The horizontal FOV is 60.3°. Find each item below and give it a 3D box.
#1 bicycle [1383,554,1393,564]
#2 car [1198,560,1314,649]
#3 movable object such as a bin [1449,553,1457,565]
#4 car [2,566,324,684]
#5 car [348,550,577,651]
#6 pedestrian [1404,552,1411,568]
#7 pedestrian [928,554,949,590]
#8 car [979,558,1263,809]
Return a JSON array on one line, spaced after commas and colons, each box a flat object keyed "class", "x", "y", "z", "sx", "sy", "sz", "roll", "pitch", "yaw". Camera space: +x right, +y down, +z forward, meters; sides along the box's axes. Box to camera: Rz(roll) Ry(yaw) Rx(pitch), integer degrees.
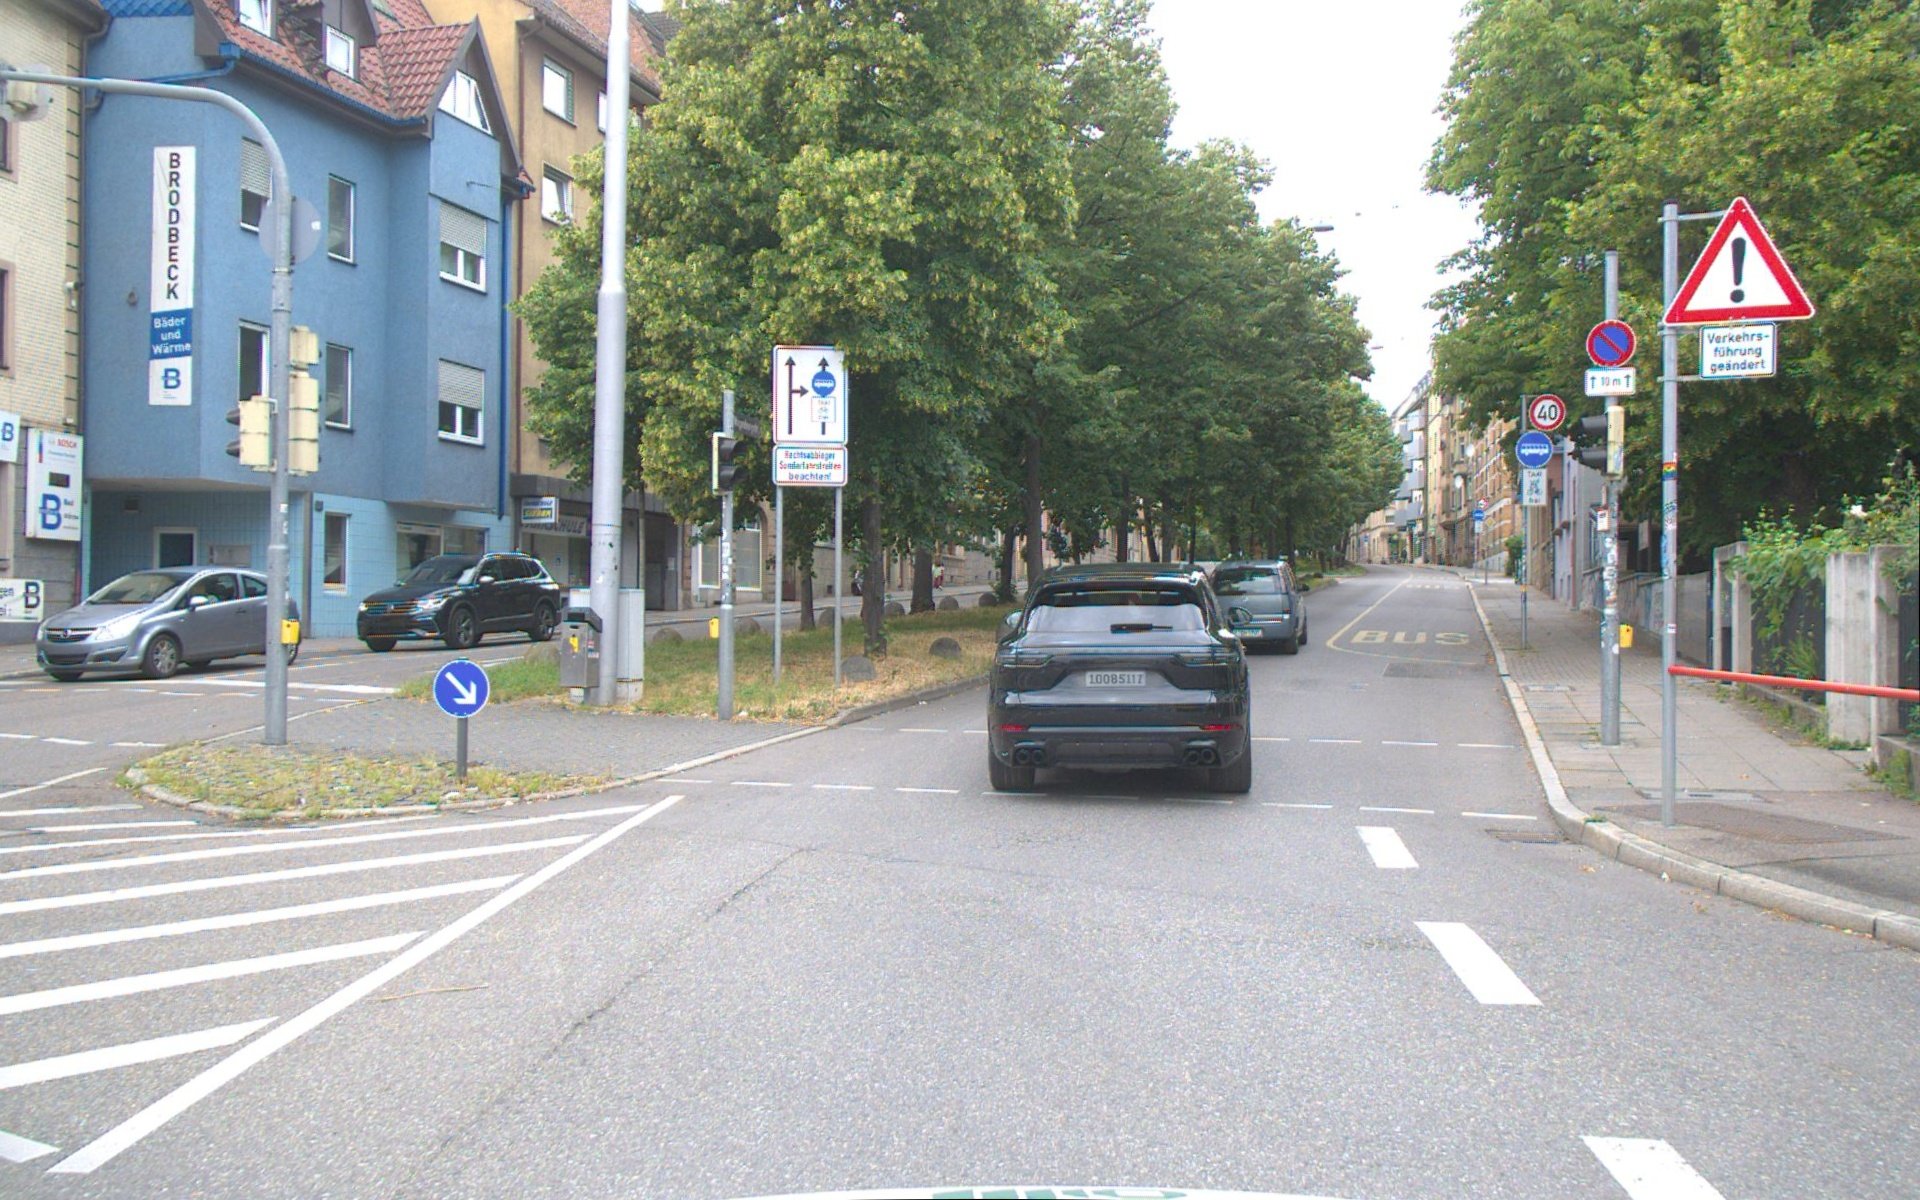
[{"class": "bicycle", "x": 50.832, "y": -4.889, "z": 196.495, "sx": 0.860, "sy": 1.149, "sz": 2.982, "roll": 1, "pitch": 0, "yaw": 9}, {"class": "car", "x": 5.385, "y": 0.056, "z": 29.819, "sx": 1.726, "sy": 1.491, "sz": 3.594, "roll": 1, "pitch": 1, "yaw": 15}, {"class": "movable object such as a bin", "x": 40.854, "y": -3.397, "z": 137.034, "sx": 0.581, "sy": 0.919, "sz": 0.563, "roll": 1, "pitch": 1, "yaw": 12}, {"class": "car", "x": -10.891, "y": 0.285, "z": 22.982, "sx": 1.633, "sy": 1.431, "sz": 4.299, "roll": -1, "pitch": 2, "yaw": 14}, {"class": "car", "x": -8.961, "y": -0.003, "z": 30.257, "sx": 1.777, "sy": 1.665, "sz": 4.683, "roll": -2, "pitch": 0, "yaw": 15}, {"class": "pedestrian", "x": 48.243, "y": -4.346, "z": 178.265, "sx": 0.735, "sy": 1.722, "sz": 0.859, "roll": 0, "pitch": -1, "yaw": 11}, {"class": "pedestrian", "x": -0.879, "y": -1.170, "z": 68.363, "sx": 0.684, "sy": 1.485, "sz": 0.704, "roll": 1, "pitch": 2, "yaw": 17}, {"class": "car", "x": 1.427, "y": 0.517, "z": 13.375, "sx": 1.951, "sy": 1.694, "sz": 4.004, "roll": 0, "pitch": 2, "yaw": 10}]
